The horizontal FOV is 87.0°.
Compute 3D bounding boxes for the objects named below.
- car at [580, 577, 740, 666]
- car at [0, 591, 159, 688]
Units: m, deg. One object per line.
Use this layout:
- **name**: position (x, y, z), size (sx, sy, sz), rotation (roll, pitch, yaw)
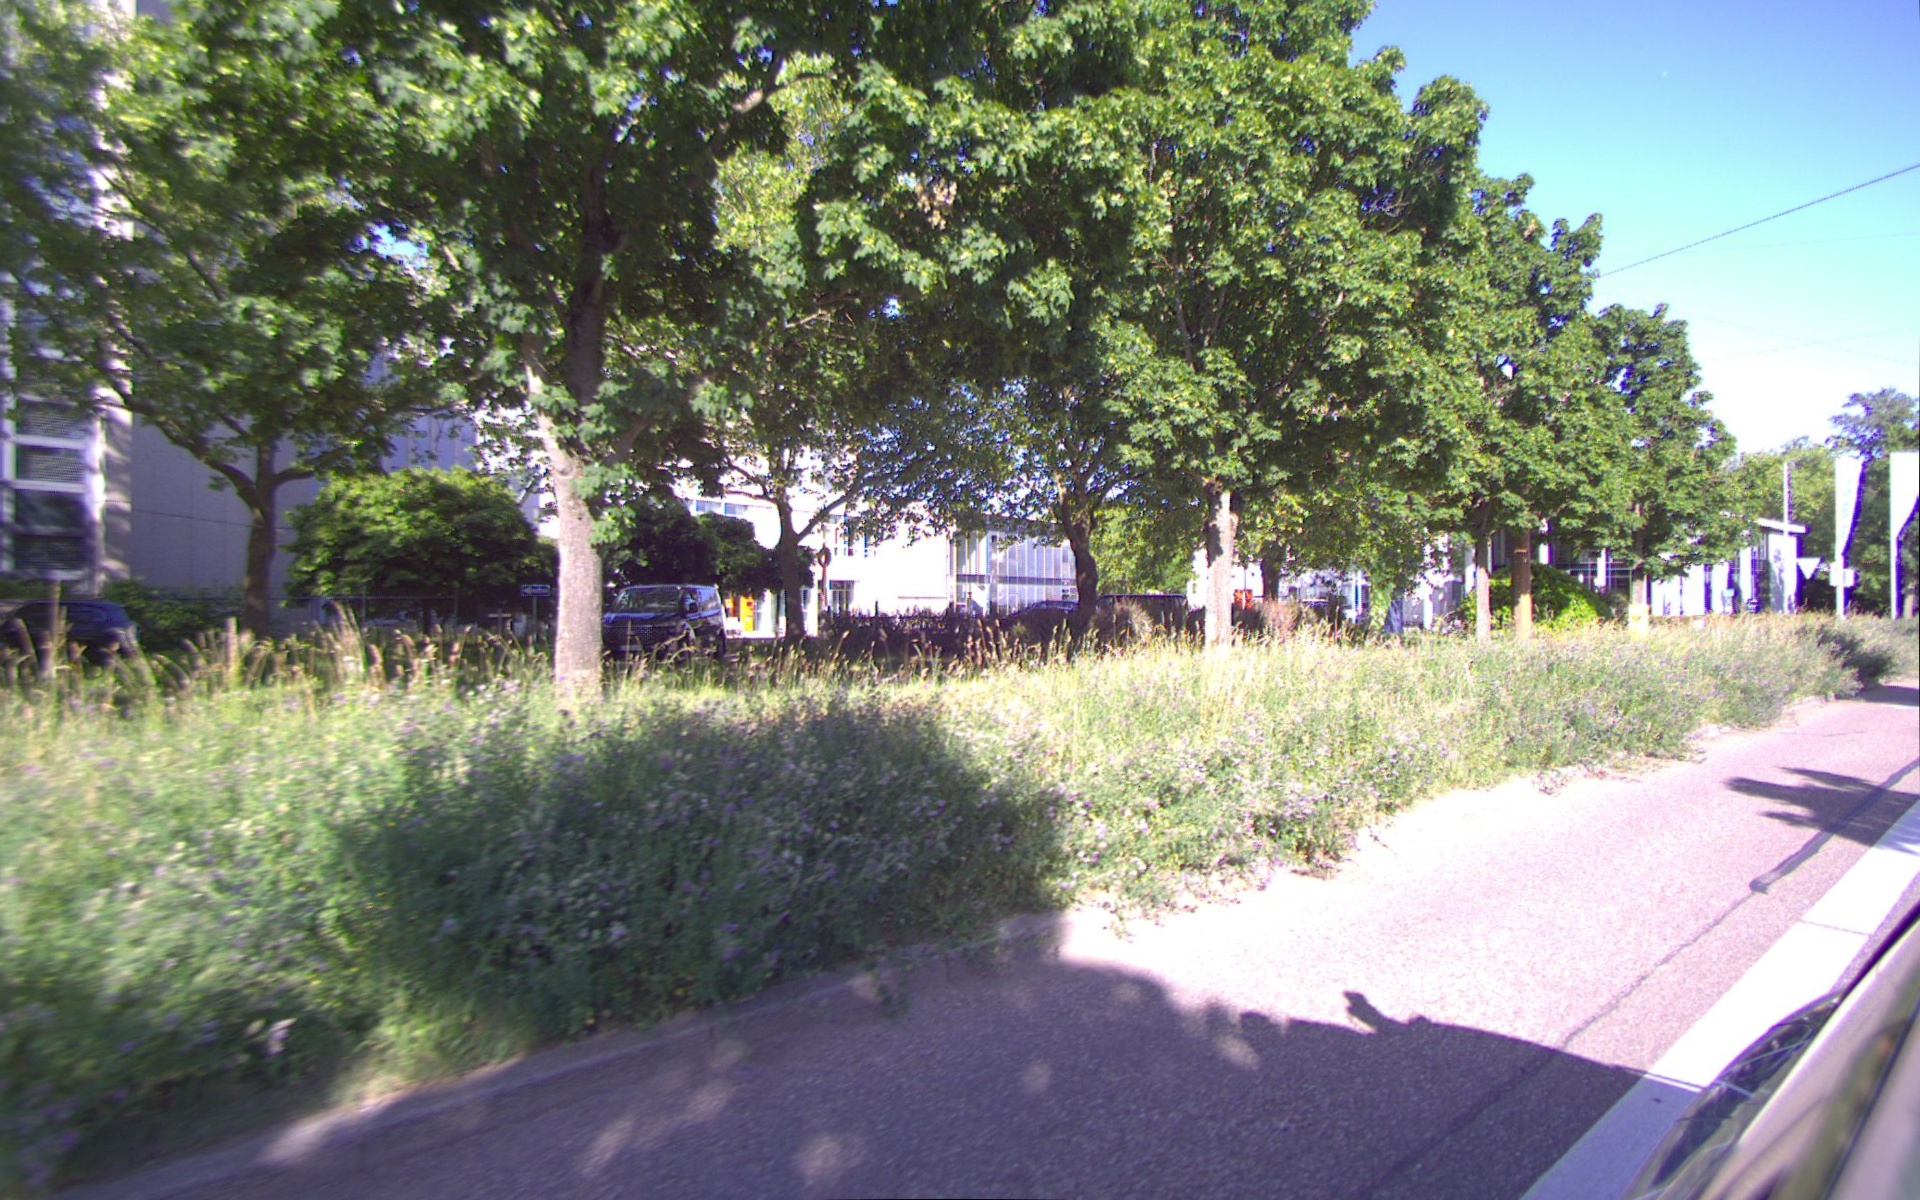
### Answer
- **car**: position (-7.037, 0.479, 24.418), size (2.042, 1.900, 5.180), rotation (0, 0, 4)
- **car**: position (-15.640, 0.614, 16.557), size (1.811, 1.467, 4.554), rotation (0, 0, -6)
